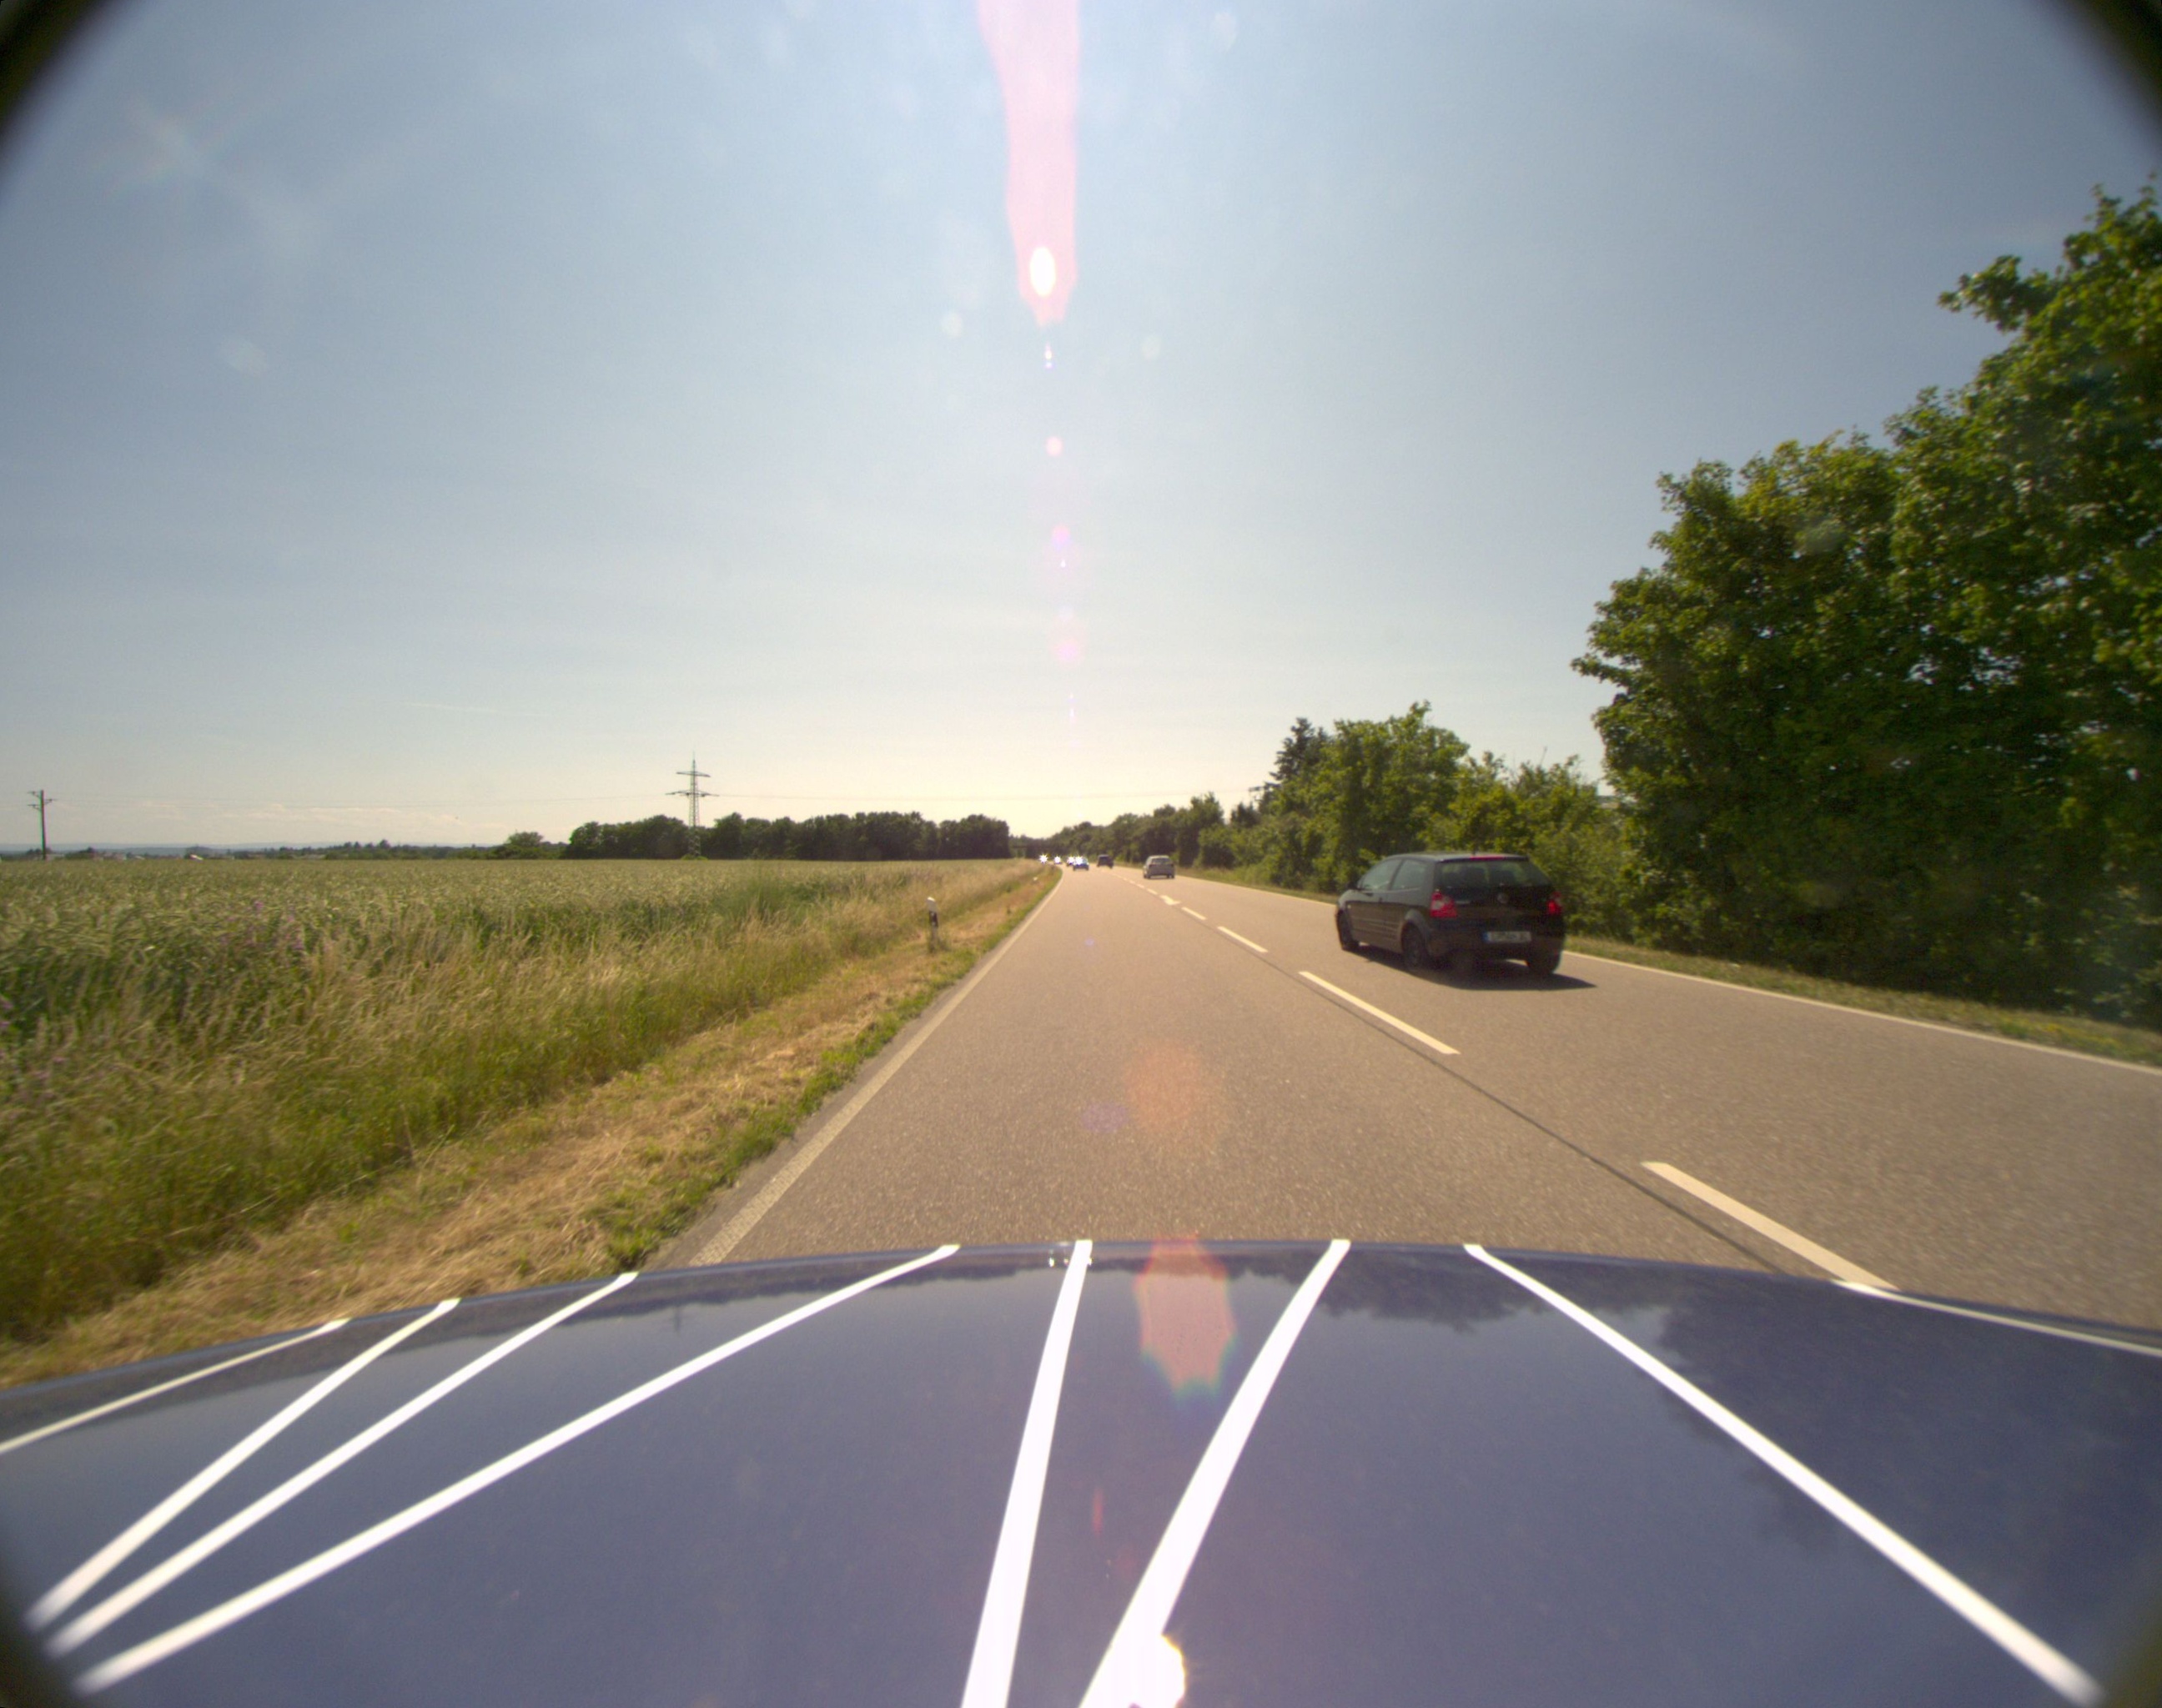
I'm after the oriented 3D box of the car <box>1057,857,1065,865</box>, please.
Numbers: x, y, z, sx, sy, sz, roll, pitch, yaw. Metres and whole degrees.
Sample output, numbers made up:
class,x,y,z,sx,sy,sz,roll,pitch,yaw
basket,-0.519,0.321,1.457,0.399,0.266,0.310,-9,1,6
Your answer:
class,x,y,z,sx,sy,sz,roll,pitch,yaw
car,-4.340,1.479,165.197,1.554,1.659,3.997,-2,1,-5

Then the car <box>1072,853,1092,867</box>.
class,x,y,z,sx,sy,sz,roll,pitch,yaw
car,0.049,0.663,85.964,1.694,1.431,3.707,-2,0,-8

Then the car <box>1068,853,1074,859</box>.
class,x,y,z,sx,sy,sz,roll,pitch,yaw
car,-2.702,0.625,200.774,1.479,1.485,3.430,-2,1,1

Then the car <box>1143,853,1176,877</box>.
class,x,y,z,sx,sy,sz,roll,pitch,yaw
car,5.002,0.677,48.642,1.711,1.373,3.819,-2,0,0

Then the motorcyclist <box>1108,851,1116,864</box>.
class,x,y,z,sx,sy,sz,roll,pitch,yaw
motorcyclist,3.701,0.400,91.734,0.837,1.466,1.817,-1,0,-2

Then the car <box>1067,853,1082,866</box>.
class,x,y,z,sx,sy,sz,roll,pitch,yaw
car,-1.069,0.836,123.022,1.999,2.002,3.998,-2,0,-5

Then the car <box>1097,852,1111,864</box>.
class,x,y,z,sx,sy,sz,roll,pitch,yaw
car,3.359,0.621,111.700,1.823,1.691,5.001,-1,0,0

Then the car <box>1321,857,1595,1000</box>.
class,x,y,z,sx,sy,sz,roll,pitch,yaw
car,4.553,0.781,9.898,1.601,1.433,4.000,-2,0,1

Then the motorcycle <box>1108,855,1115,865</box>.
class,x,y,z,sx,sy,sz,roll,pitch,yaw
motorcycle,3.683,0.737,91.645,0.618,1.102,2.022,-2,0,-2
